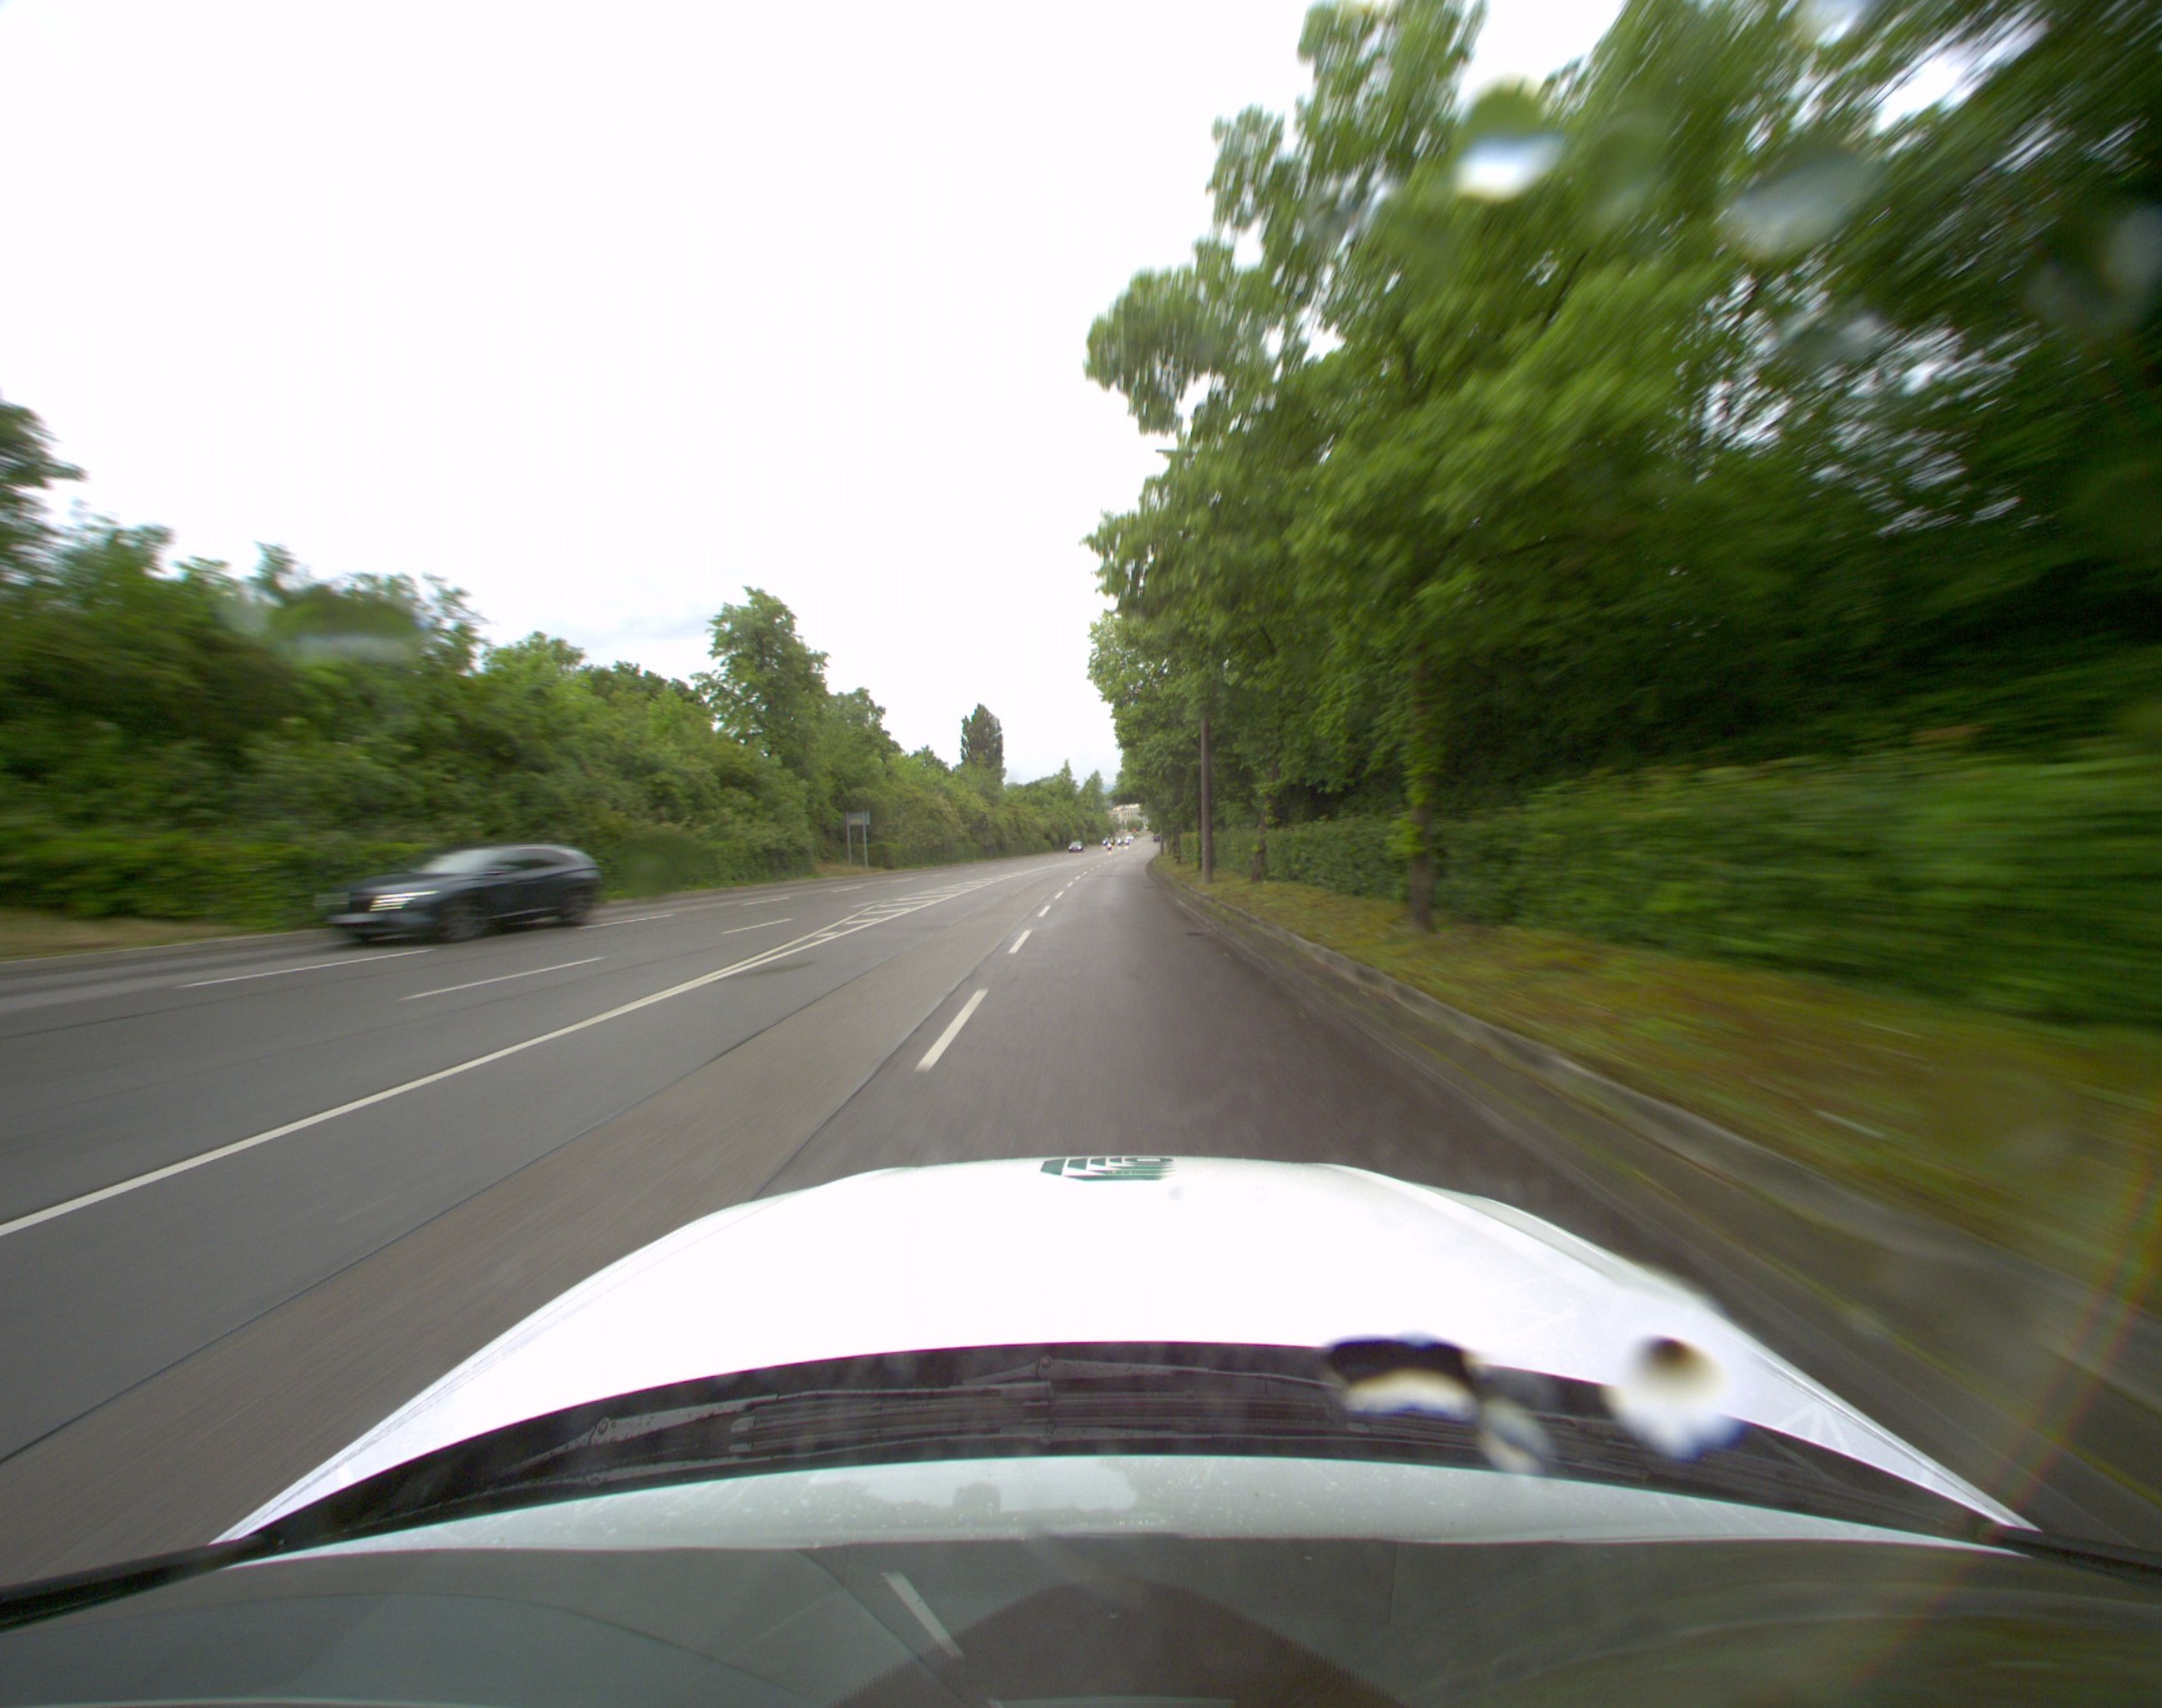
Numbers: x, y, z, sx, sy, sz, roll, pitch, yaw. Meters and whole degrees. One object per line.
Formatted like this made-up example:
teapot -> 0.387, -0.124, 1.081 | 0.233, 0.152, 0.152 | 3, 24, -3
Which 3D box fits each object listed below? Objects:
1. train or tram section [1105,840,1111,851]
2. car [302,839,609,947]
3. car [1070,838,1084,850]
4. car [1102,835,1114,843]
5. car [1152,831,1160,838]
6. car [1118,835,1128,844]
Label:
train or tram section -> 3.892, -1.290, 117.417 | 0.787, 1.570, 2.388 | 0, 1, 5
car -> -10.707, 0.544, 14.470 | 1.792, 1.606, 4.433 | 0, 1, 4
car -> -0.514, -1.303, 107.298 | 1.541, 1.437, 3.702 | -1, 1, 6
car -> 5.335, -3.064, 161.448 | 1.889, 1.552, 4.640 | 0, 1, 7
car -> 18.207, -4.754, 197.496 | 1.838, 1.701, 3.802 | 0, 0, 9
car -> 8.163, -2.882, 158.473 | 1.803, 1.657, 4.604 | 0, 1, 6
